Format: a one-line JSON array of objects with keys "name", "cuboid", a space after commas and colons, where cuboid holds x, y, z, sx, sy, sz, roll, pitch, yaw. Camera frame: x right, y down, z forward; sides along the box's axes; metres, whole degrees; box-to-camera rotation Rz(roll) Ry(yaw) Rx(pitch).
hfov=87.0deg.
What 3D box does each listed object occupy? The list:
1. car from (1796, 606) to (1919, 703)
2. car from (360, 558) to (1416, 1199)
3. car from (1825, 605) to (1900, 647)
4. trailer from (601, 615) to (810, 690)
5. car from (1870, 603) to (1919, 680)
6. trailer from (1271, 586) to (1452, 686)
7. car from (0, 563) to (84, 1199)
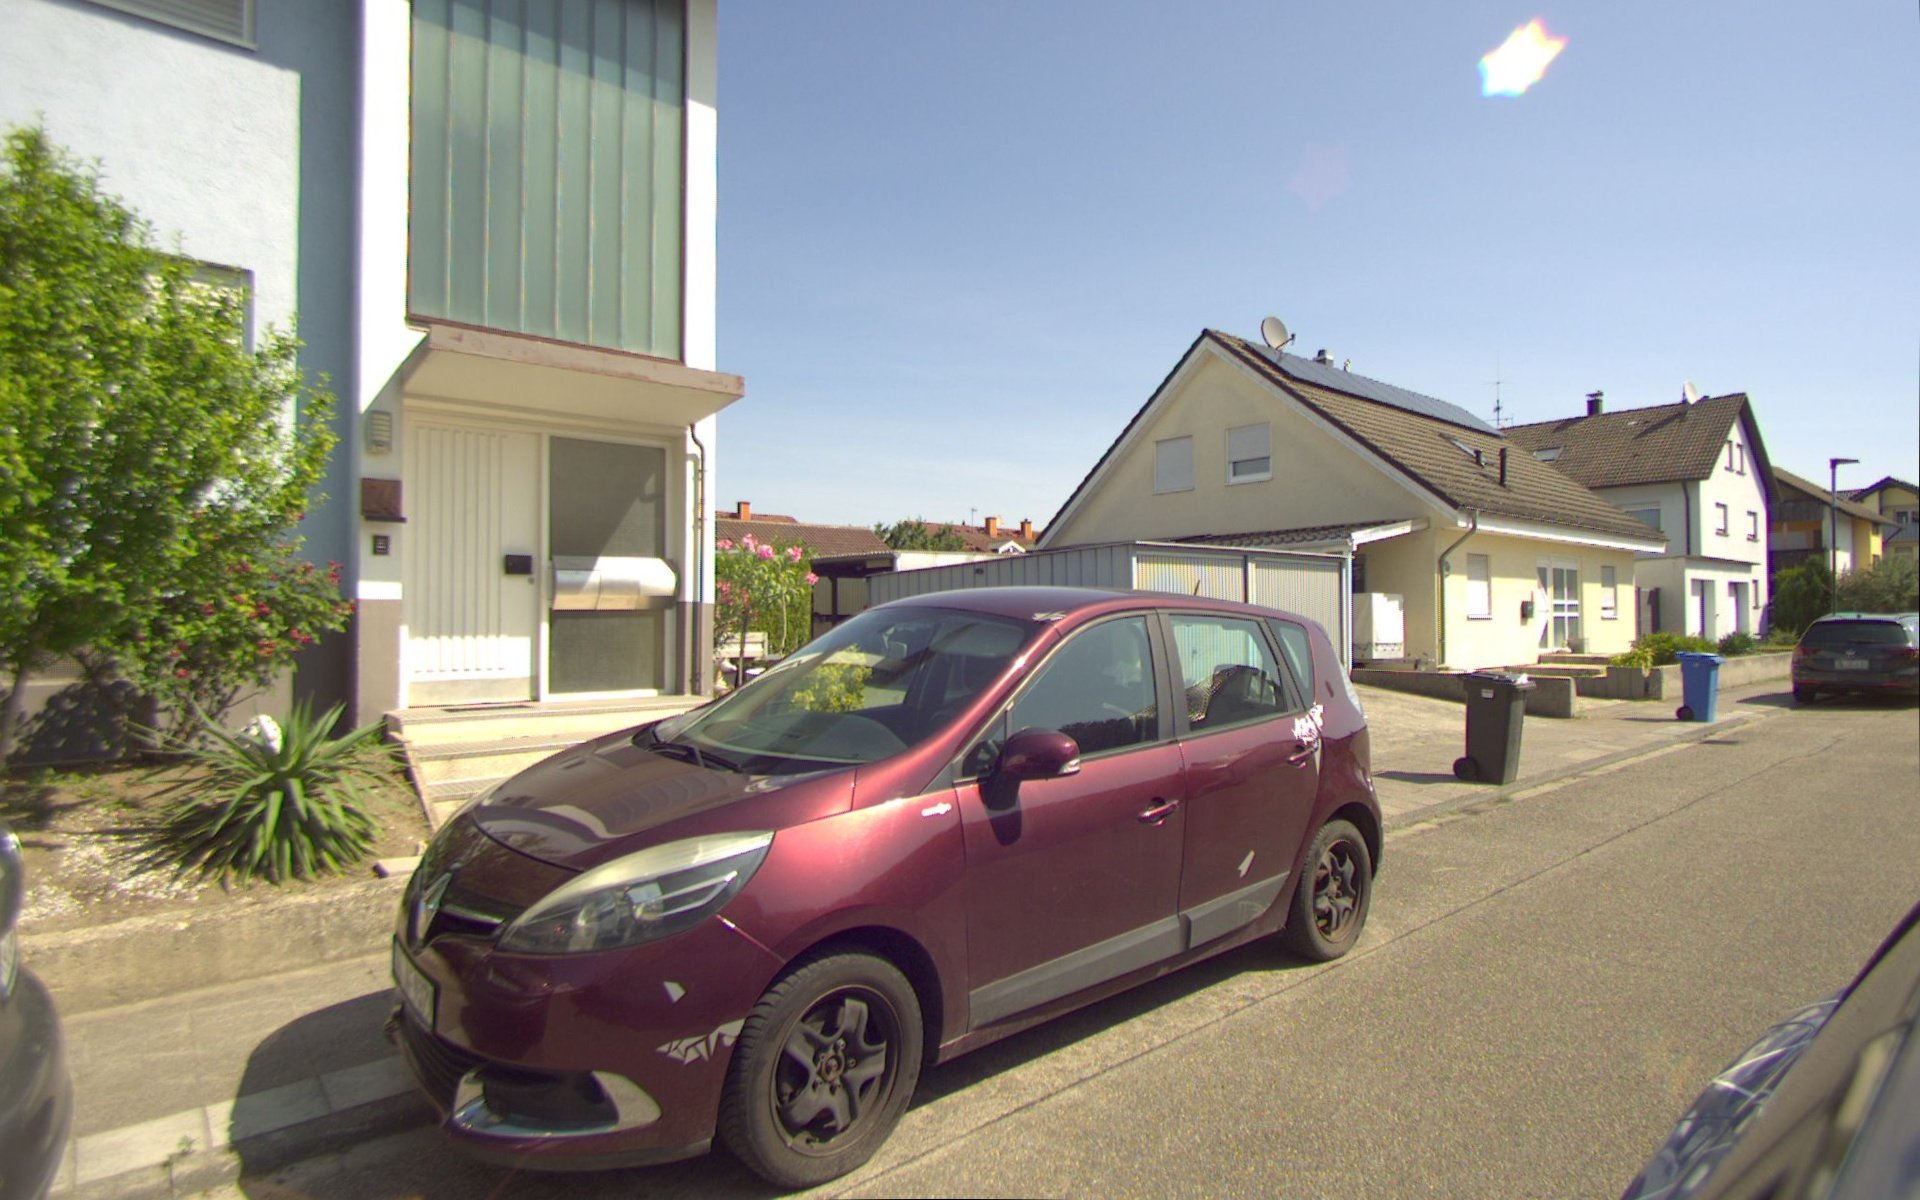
[{"name": "car", "cuboid": [15.850, 0.844, 17.097, 4.420, 1.457, 1.721, 0, -3, -38]}, {"name": "car", "cuboid": [0.055, 0.729, 4.096, 4.073, 1.602, 1.648, 0, -1, -40]}, {"name": "car", "cuboid": [31.221, 0.874, 34.977, 3.465, 1.376, 1.496, 0, -1, -41]}, {"name": "trailer", "cuboid": [-3.639, 0.712, 14.602, 2.633, 0.958, 1.331, 0, -1, -39]}, {"name": "car", "cuboid": [20.192, 0.831, 20.821, 3.929, 1.498, 1.644, 1, -3, -41]}, {"name": "trailer", "cuboid": [7.445, 0.634, 18.929, 1.377, 1.712, 2.840, 1, -1, -39]}, {"name": "car", "cuboid": [-3.393, 0.725, 0.866, 3.977, 1.566, 1.647, 0, -1, -42]}]
